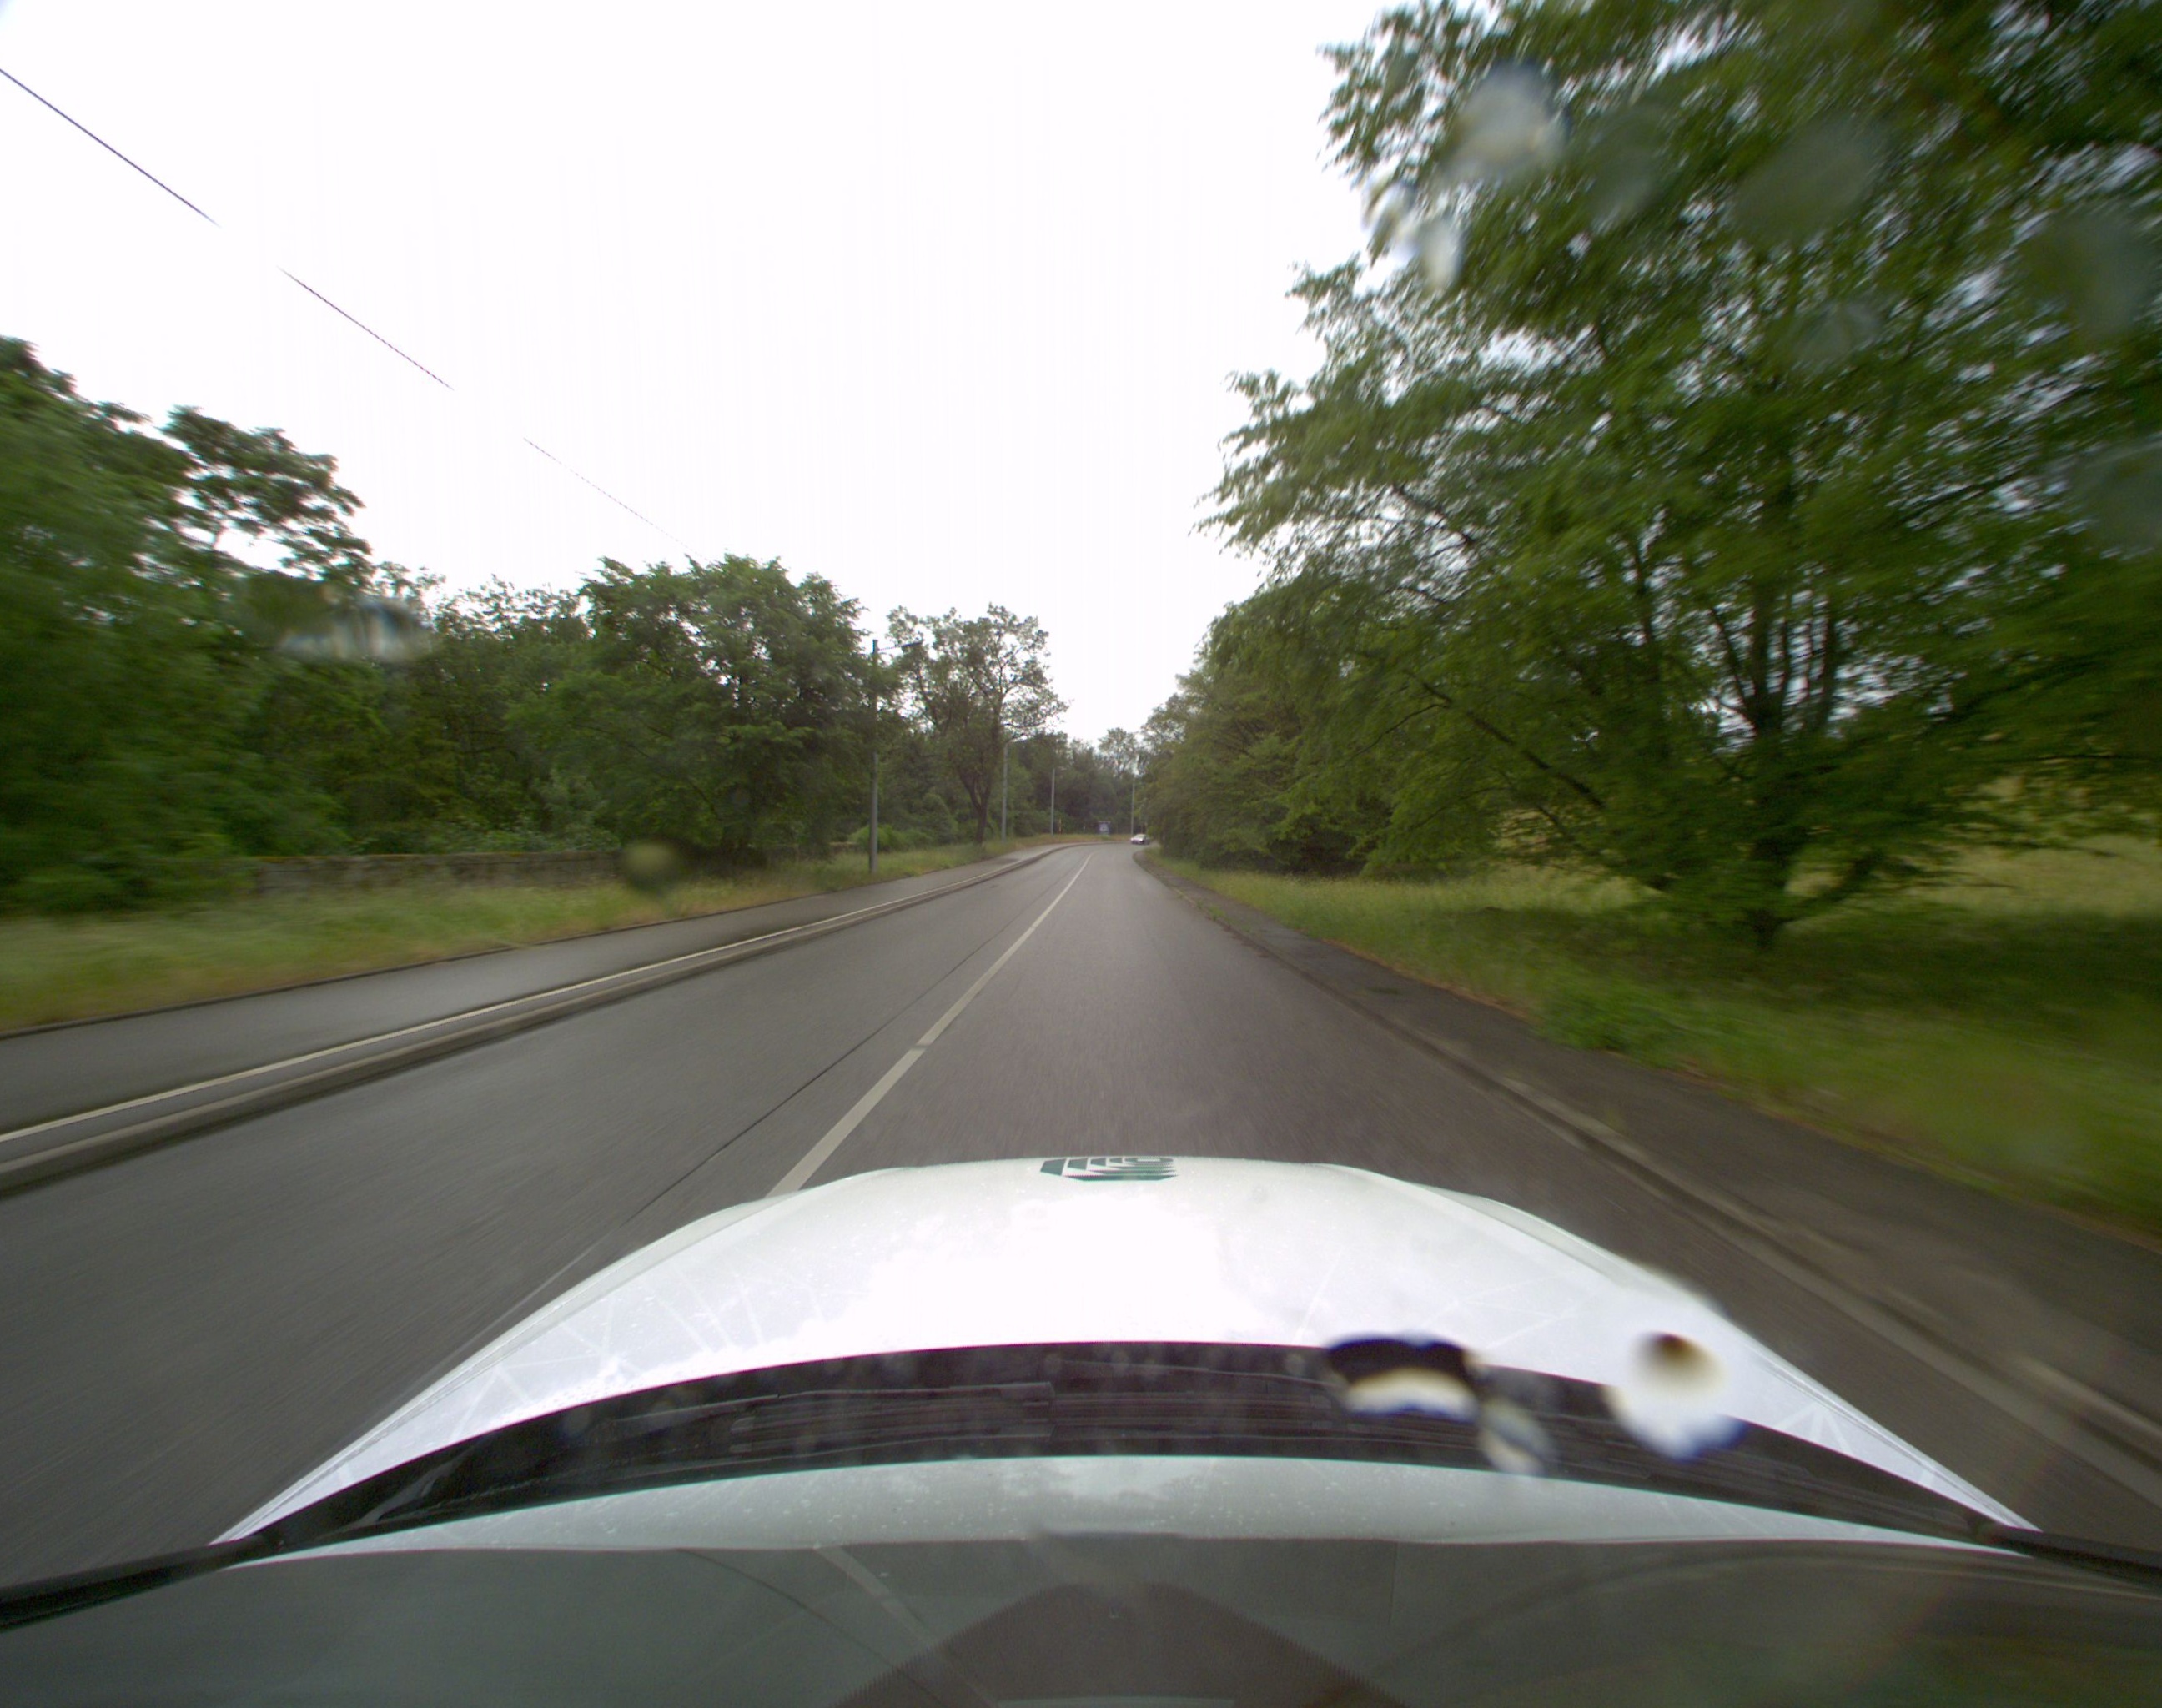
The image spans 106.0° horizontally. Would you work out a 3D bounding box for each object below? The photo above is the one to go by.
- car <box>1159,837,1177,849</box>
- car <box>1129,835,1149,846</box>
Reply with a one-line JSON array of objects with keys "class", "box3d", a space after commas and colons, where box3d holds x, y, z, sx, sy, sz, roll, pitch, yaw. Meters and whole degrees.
[{"class": "car", "box3d": [13.305, -1.652, 124.175, 1.727, 1.717, 4.021, 2, 0, 22]}, {"class": "car", "box3d": [8.743, -1.989, 121.702, 1.766, 1.430, 4.497, 5, 3, 19]}]
